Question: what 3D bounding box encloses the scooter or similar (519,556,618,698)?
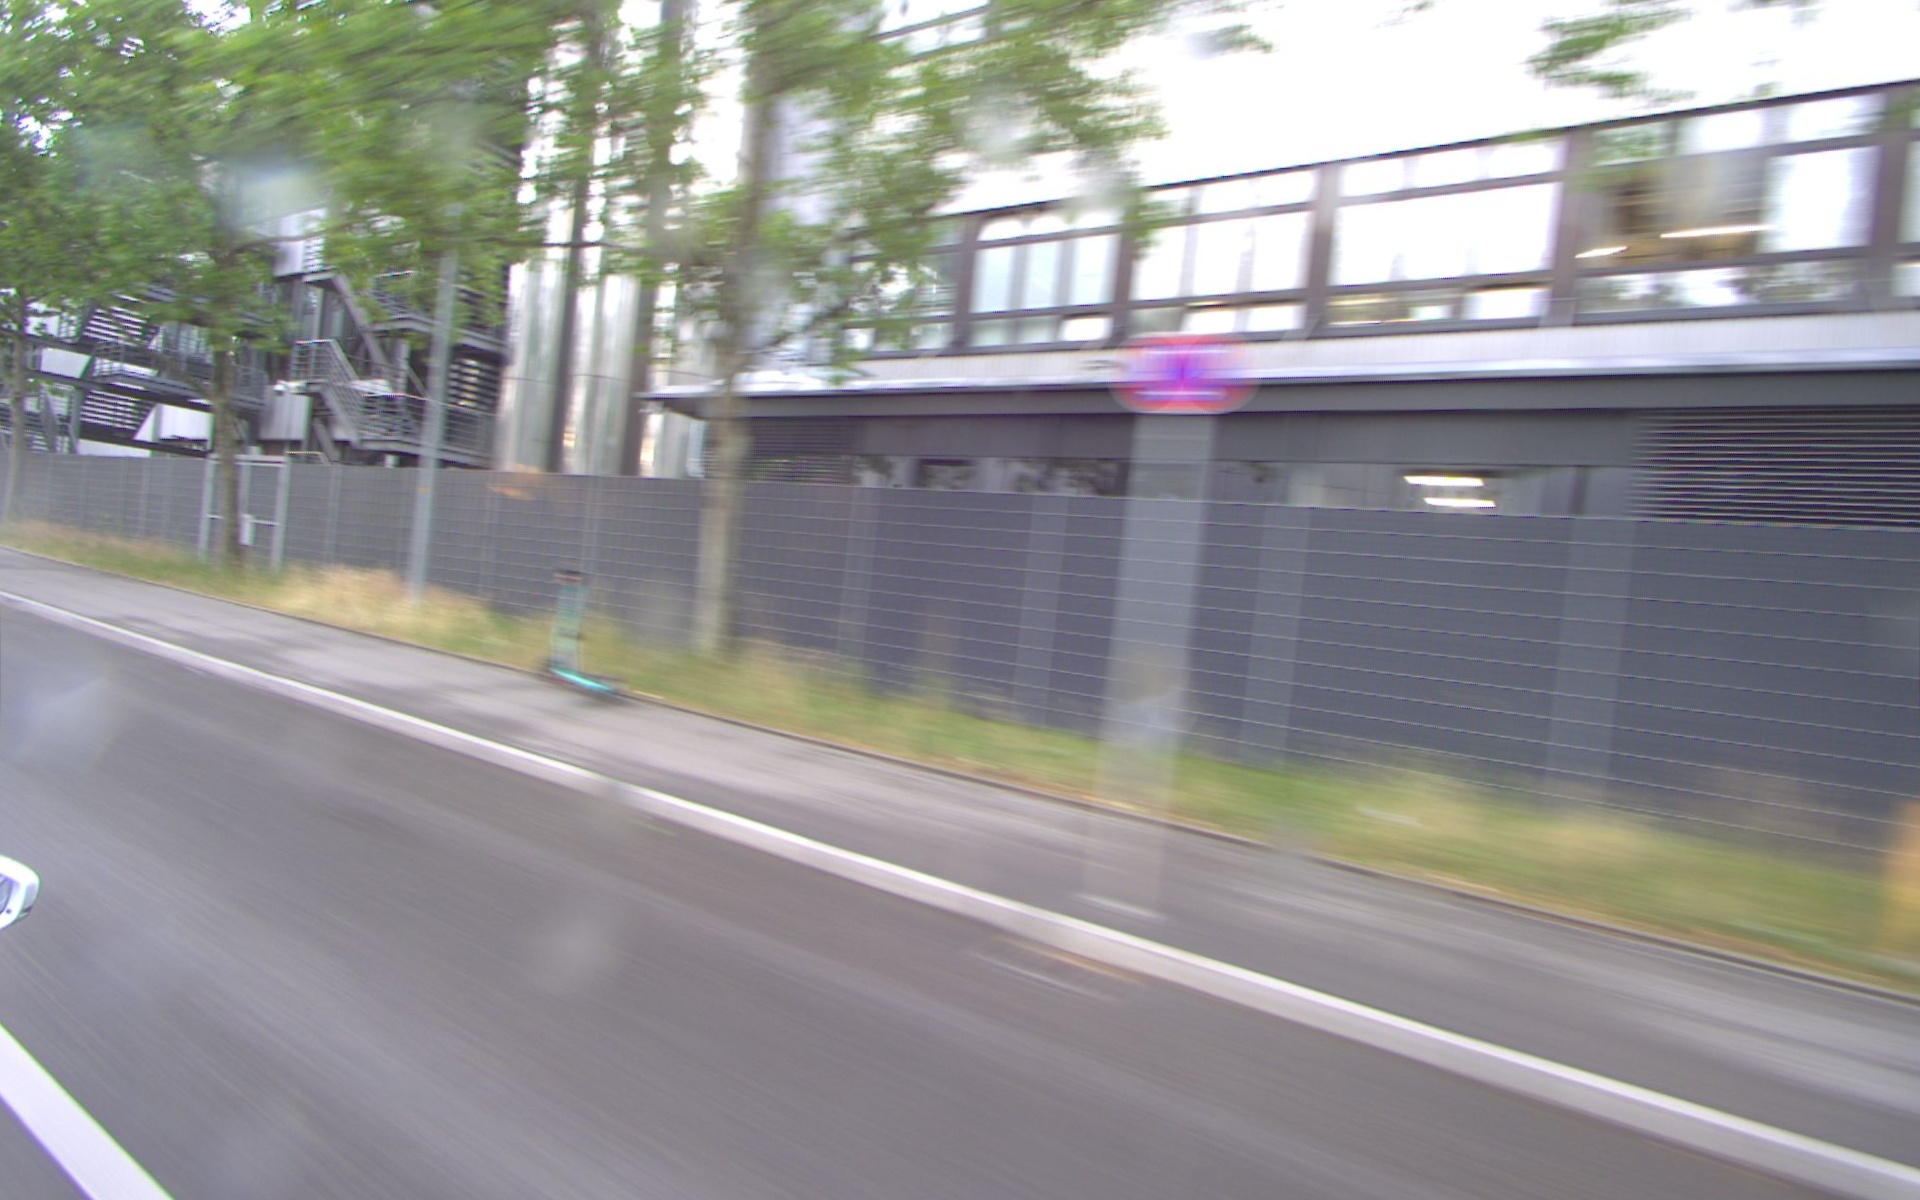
[{"bbox_3d":[-3.901,0.253,9.996,1.093,1.285,0.328,7,1,41],"label":"scooter or similar"}]
